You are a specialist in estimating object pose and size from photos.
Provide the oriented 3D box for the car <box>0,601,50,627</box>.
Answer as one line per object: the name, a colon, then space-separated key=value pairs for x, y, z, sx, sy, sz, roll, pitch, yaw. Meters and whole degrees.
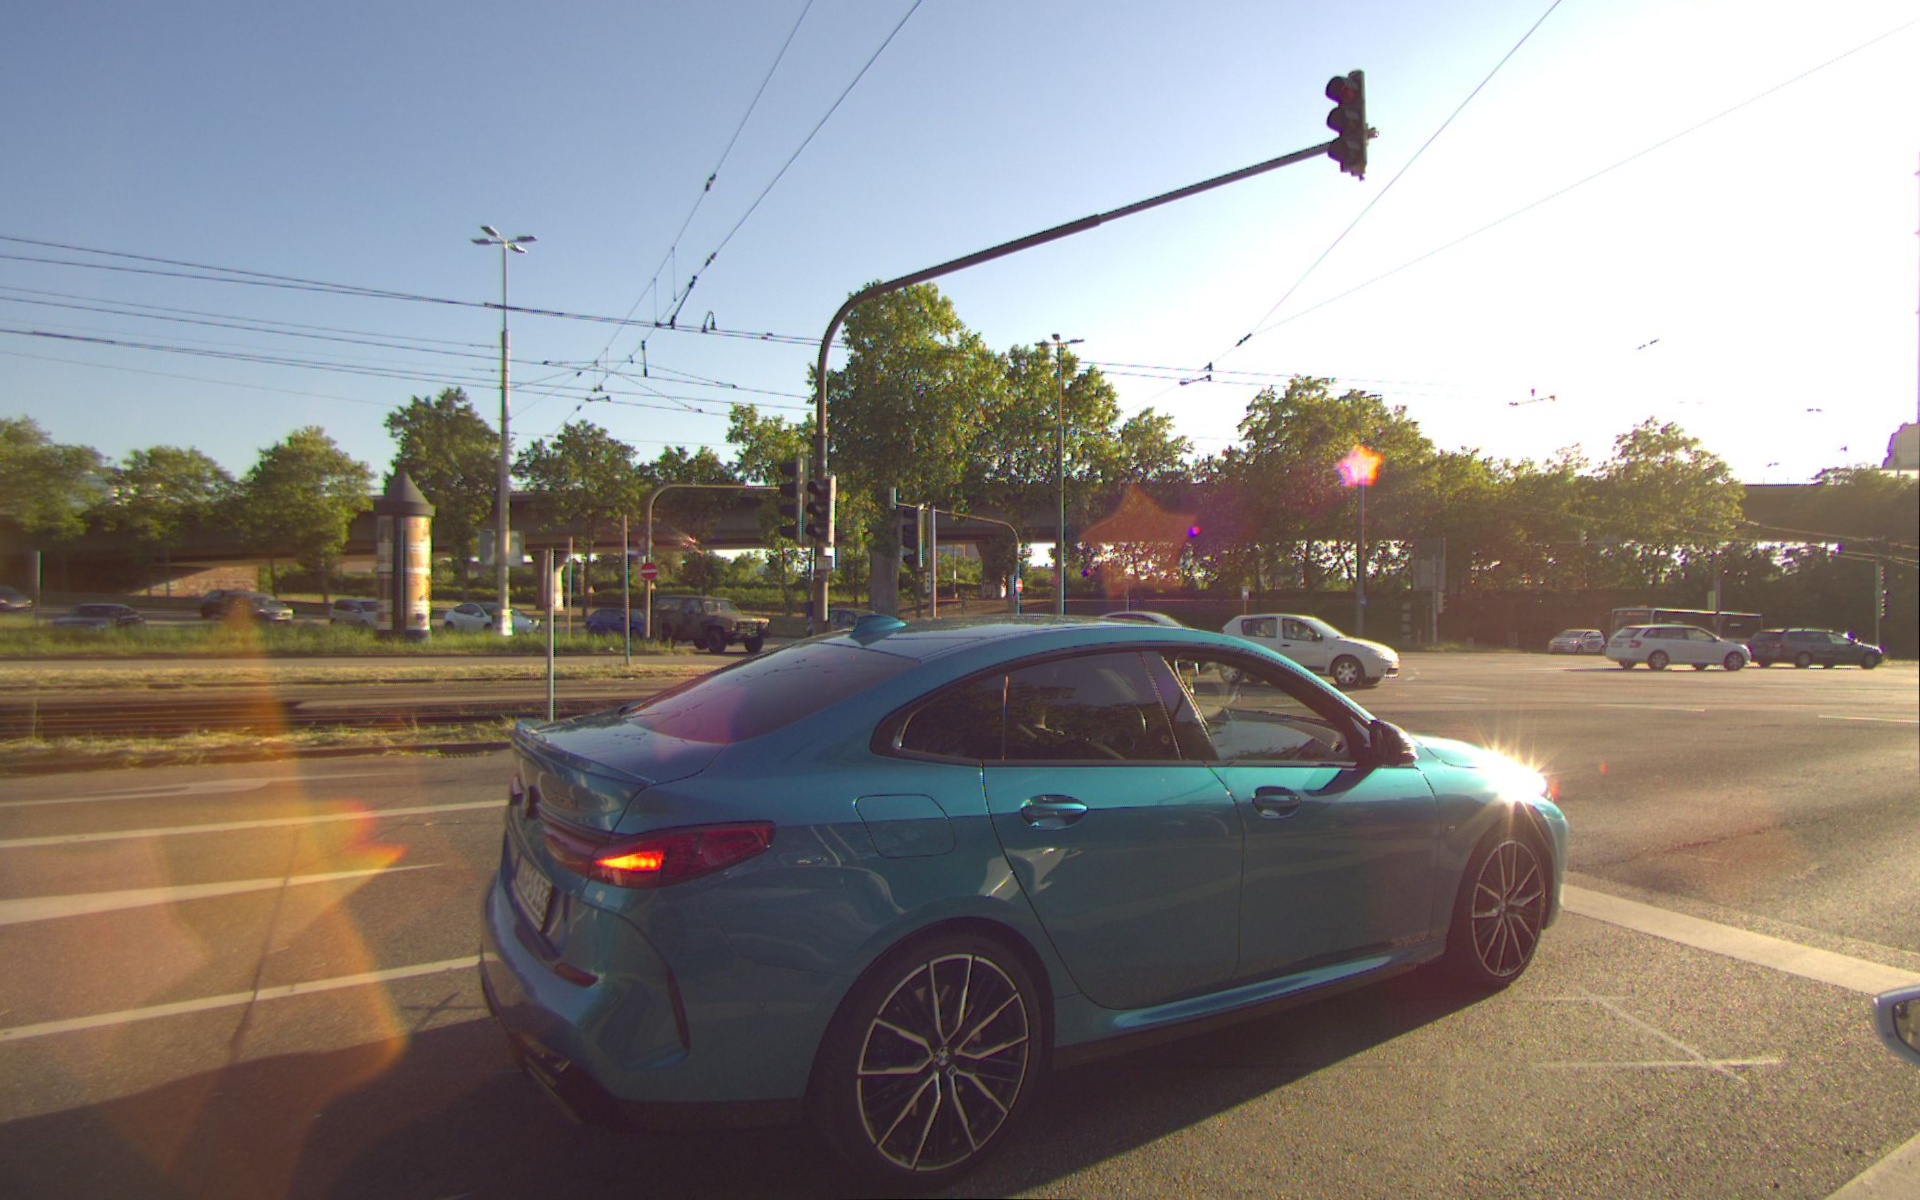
car: x=-60.818 y=0.879 z=64.621 sx=3.857 sy=1.546 sz=1.724 roll=1 pitch=0 yaw=19

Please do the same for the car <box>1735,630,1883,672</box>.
car: x=32.066 y=1.911 z=37.998 sx=4.360 sy=1.423 sz=1.670 roll=1 pitch=0 yaw=-4

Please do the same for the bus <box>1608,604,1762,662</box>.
bus: x=45.787 y=2.145 z=63.212 sx=12.756 sy=3.171 sz=2.534 roll=3 pitch=-2 yaw=-28

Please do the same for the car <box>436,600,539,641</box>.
car: x=-20.254 y=0.858 z=43.016 sx=4.683 sy=1.596 sz=1.690 roll=1 pitch=0 yaw=31

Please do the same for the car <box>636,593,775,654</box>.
car: x=-9.098 y=0.789 z=35.791 sx=4.859 sy=2.017 sz=2.032 roll=1 pitch=-1 yaw=33

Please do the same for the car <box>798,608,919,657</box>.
car: x=-3.647 y=1.132 z=35.735 sx=4.177 sy=1.595 sz=1.689 roll=1 pitch=-1 yaw=34

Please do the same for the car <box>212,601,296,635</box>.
car: x=-37.748 y=0.945 z=53.717 sx=4.330 sy=1.701 sz=1.692 roll=1 pitch=0 yaw=24

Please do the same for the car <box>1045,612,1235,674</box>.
car: x=5.191 y=1.196 z=29.425 sx=5.282 sy=1.595 sz=1.734 roll=1 pitch=-1 yaw=37

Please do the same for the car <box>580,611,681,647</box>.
car: x=-14.530 y=1.246 z=44.164 sx=4.545 sy=1.478 sz=1.690 roll=1 pitch=-1 yaw=32

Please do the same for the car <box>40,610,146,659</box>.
car: x=-32.988 y=1.288 z=38.378 sx=1.730 sy=1.701 sz=4.728 roll=1 pitch=0 yaw=-24

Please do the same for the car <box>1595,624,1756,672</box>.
car: x=23.640 y=1.566 z=33.297 sx=4.114 sy=1.423 sz=1.671 roll=1 pitch=0 yaw=1

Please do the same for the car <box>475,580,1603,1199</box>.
car: x=0.550 y=0.749 z=3.847 sx=4.162 sy=1.485 sz=1.704 roll=1 pitch=-1 yaw=-33

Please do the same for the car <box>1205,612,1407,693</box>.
car: x=7.694 y=1.109 z=22.478 sx=3.938 sy=1.595 sz=1.686 roll=0 pitch=-1 yaw=39

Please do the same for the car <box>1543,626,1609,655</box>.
car: x=35.240 y=2.295 z=57.456 sx=3.964 sy=1.532 sz=1.598 roll=1 pitch=0 yaw=-32

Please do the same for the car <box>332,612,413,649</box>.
car: x=-28.347 y=1.449 z=48.404 sx=4.214 sy=1.653 sz=1.689 roll=1 pitch=0 yaw=34
